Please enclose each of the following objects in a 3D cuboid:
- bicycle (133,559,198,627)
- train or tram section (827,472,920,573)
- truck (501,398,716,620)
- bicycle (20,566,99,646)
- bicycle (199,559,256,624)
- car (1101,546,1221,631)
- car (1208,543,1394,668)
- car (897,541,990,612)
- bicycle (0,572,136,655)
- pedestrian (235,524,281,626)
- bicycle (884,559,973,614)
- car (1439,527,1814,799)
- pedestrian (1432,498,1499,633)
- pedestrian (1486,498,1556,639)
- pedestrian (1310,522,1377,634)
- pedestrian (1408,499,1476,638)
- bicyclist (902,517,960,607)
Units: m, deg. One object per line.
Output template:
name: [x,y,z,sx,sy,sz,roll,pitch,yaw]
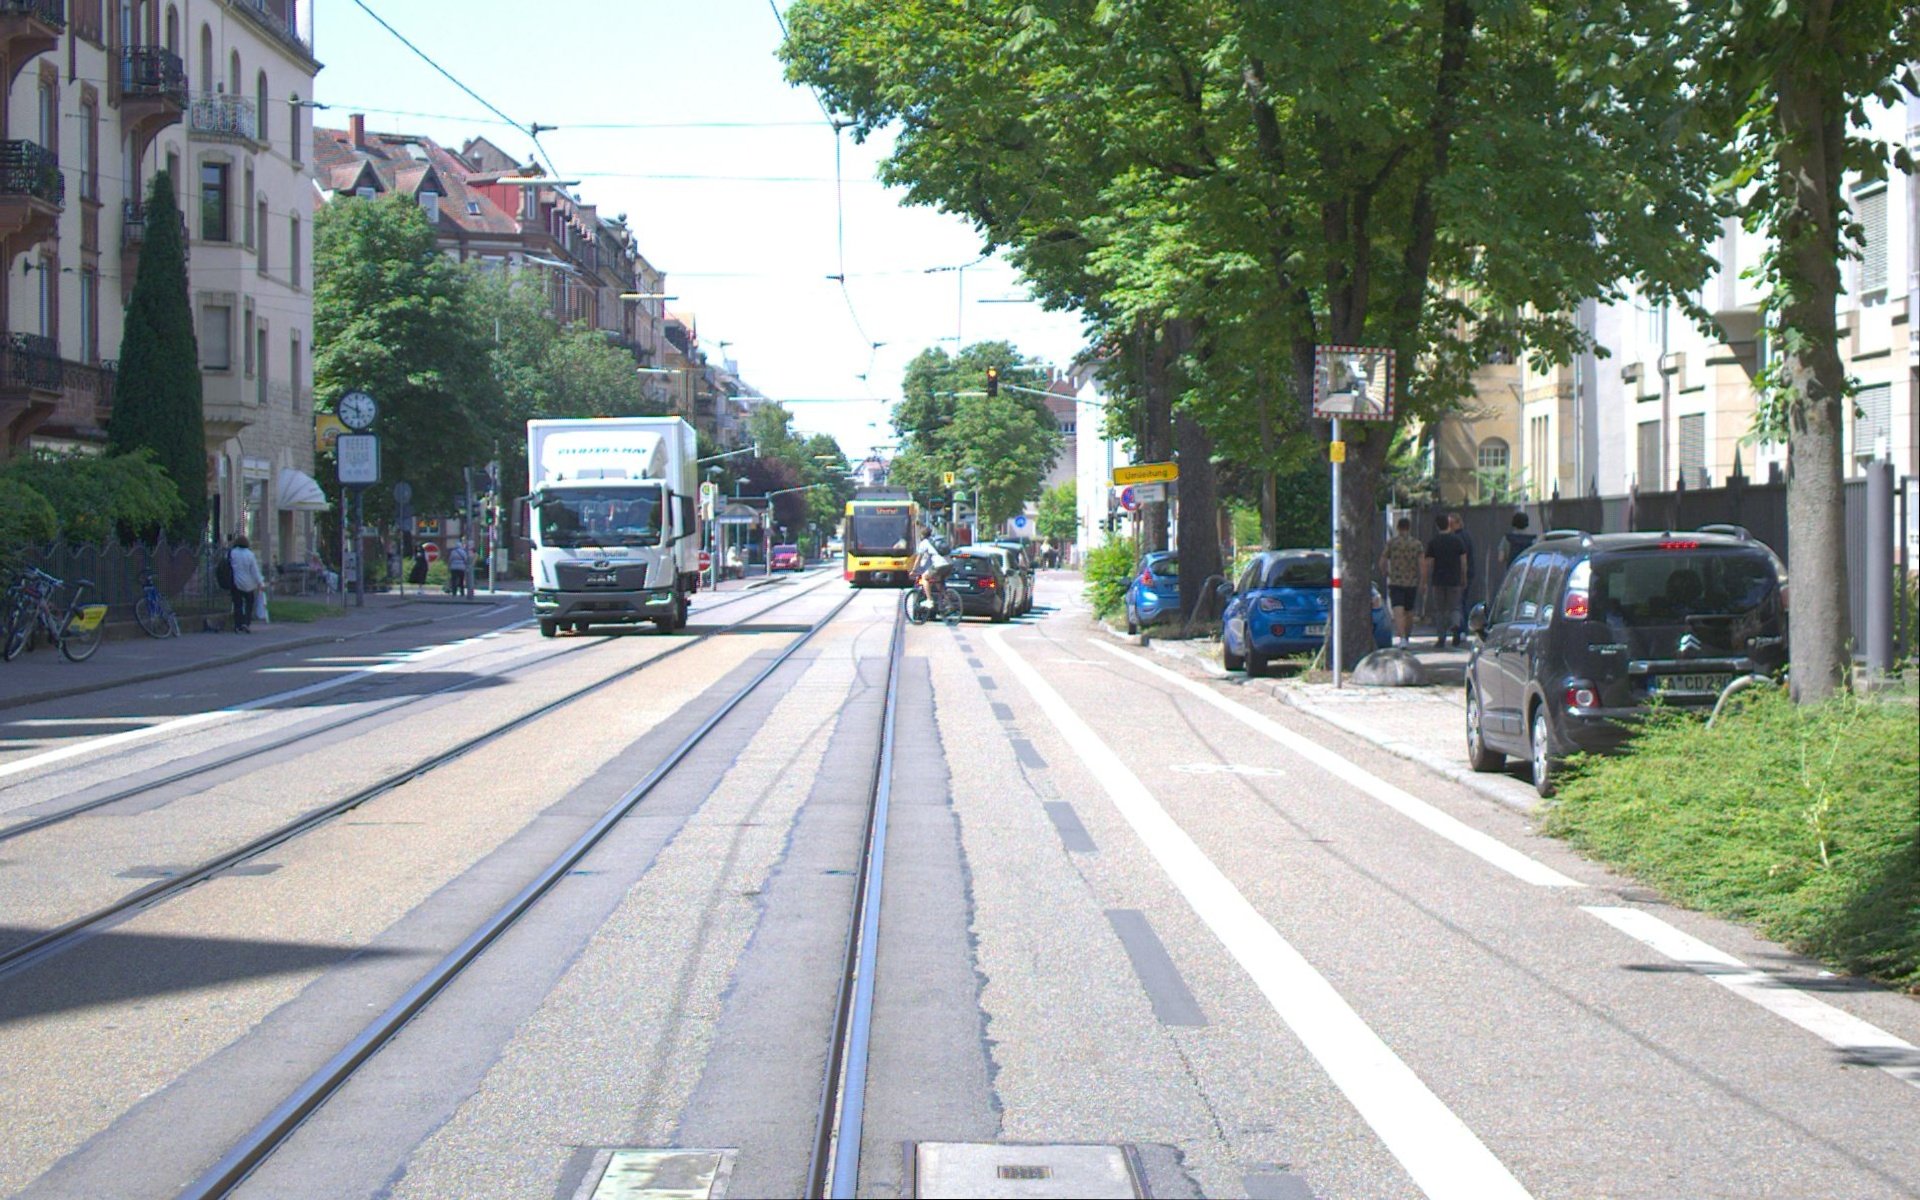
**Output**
bicycle: [-11.743,-0.118,50.836,0.543,0.966,1.781,1,1,0]
train or tram section: [-2.997,-2.750,122.176,3.035,3.426,11.971,0,1,0]
truck: [-5.932,-1.564,59.279,2.939,3.538,8.453,0,1,-1]
bicycle: [-11.532,0.067,44.064,0.543,0.966,1.781,1,2,0]
bicycle: [-11.762,-0.140,55.243,0.543,0.966,1.781,1,2,0]
car: [3.465,-0.219,59.974,1.710,1.418,4.310,-1,1,-1]
car: [4.088,0.036,41.833,1.710,1.418,4.310,-1,1,-1]
car: [-0.341,-0.476,67.715,1.781,1.341,3.416,0,1,-1]
bicycle: [-10.709,0.168,41.175,0.544,0.966,1.778,1,0,29]
pedestrian: [-11.191,-0.403,54.830,0.572,1.610,0.817,0,1,0]
bicycle: [-0.584,-0.251,63.108,0.639,0.966,1.780,2,-1,-38]
car: [4.266,0.353,22.559,1.592,1.611,3.908,-1,1,-1]
pedestrian: [6.979,-0.468,47.511,0.808,1.853,0.623,0,-1,-3]
pedestrian: [7.436,-0.410,45.600,0.808,1.853,0.623,0,-1,-3]
pedestrian: [5.255,-0.295,47.074,0.809,1.525,0.623,0,-1,17]
pedestrian: [6.482,-0.415,46.220,0.808,1.853,0.576,0,-1,-3]
bicyclist: [-0.530,-0.693,63.059,0.622,1.610,0.864,2,-1,-39]
